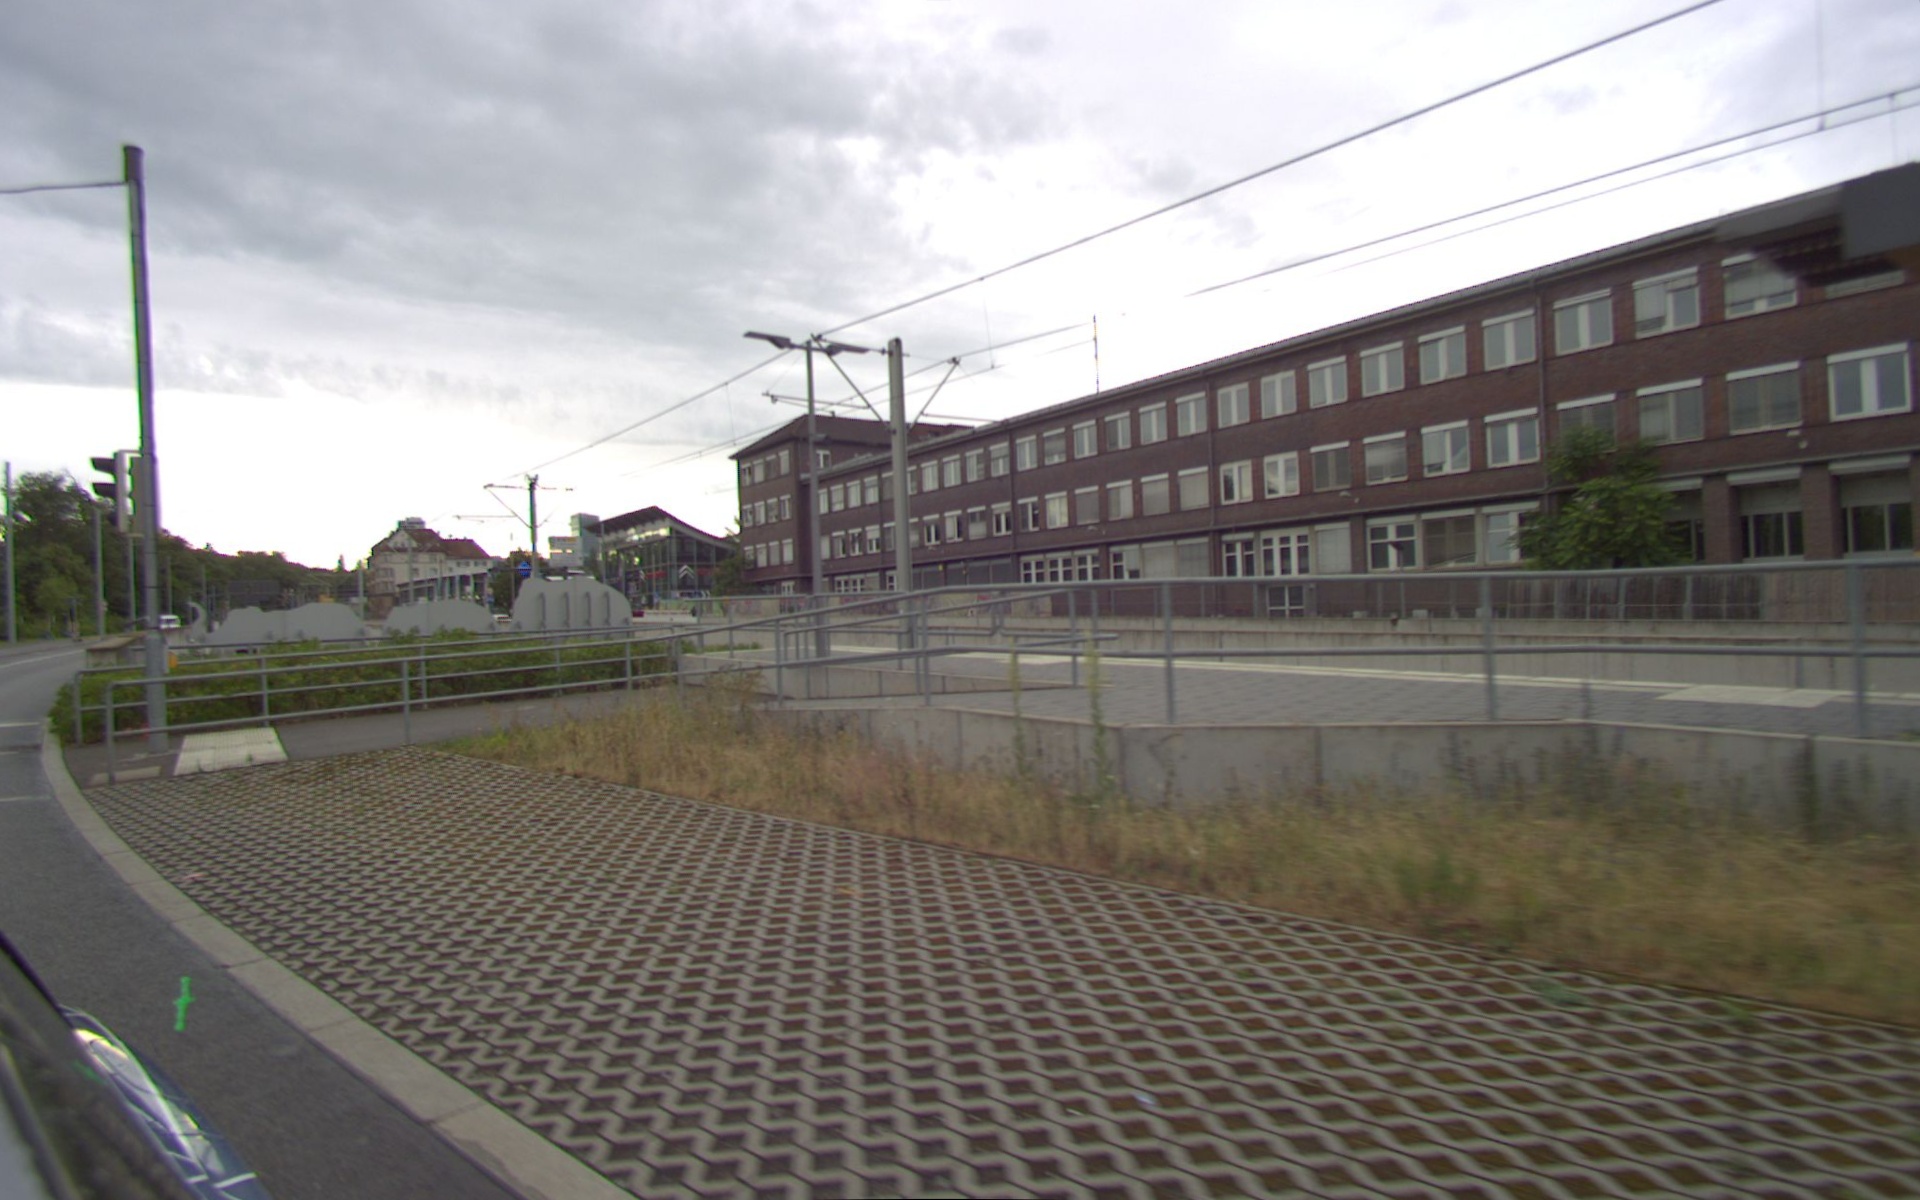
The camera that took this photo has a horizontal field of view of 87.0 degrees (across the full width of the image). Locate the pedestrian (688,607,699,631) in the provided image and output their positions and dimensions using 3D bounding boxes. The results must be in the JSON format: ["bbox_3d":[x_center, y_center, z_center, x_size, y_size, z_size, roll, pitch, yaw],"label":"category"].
[{"bbox_3d":[-22.854,1.601,86.741,0.723,2.029,0.577,0,-1,17],"label":"pedestrian"}]

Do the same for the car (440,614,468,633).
[{"bbox_3d":[-57.262,2.675,114.556,1.968,2.029,4.007,1,-2,-39],"label":"car"}]

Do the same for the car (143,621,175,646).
[{"bbox_3d":[-67.737,2.802,85.610,1.967,2.029,4.009,1,-2,-36],"label":"car"}]

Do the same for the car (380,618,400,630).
[{"bbox_3d":[-89.577,3.782,159.071,2.086,1.729,4.589,-1,-1,-38],"label":"car"}]

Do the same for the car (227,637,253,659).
[{"bbox_3d":[-70.156,4.652,98.654,1.967,2.029,4.010,1,-1,-34],"label":"car"}]
